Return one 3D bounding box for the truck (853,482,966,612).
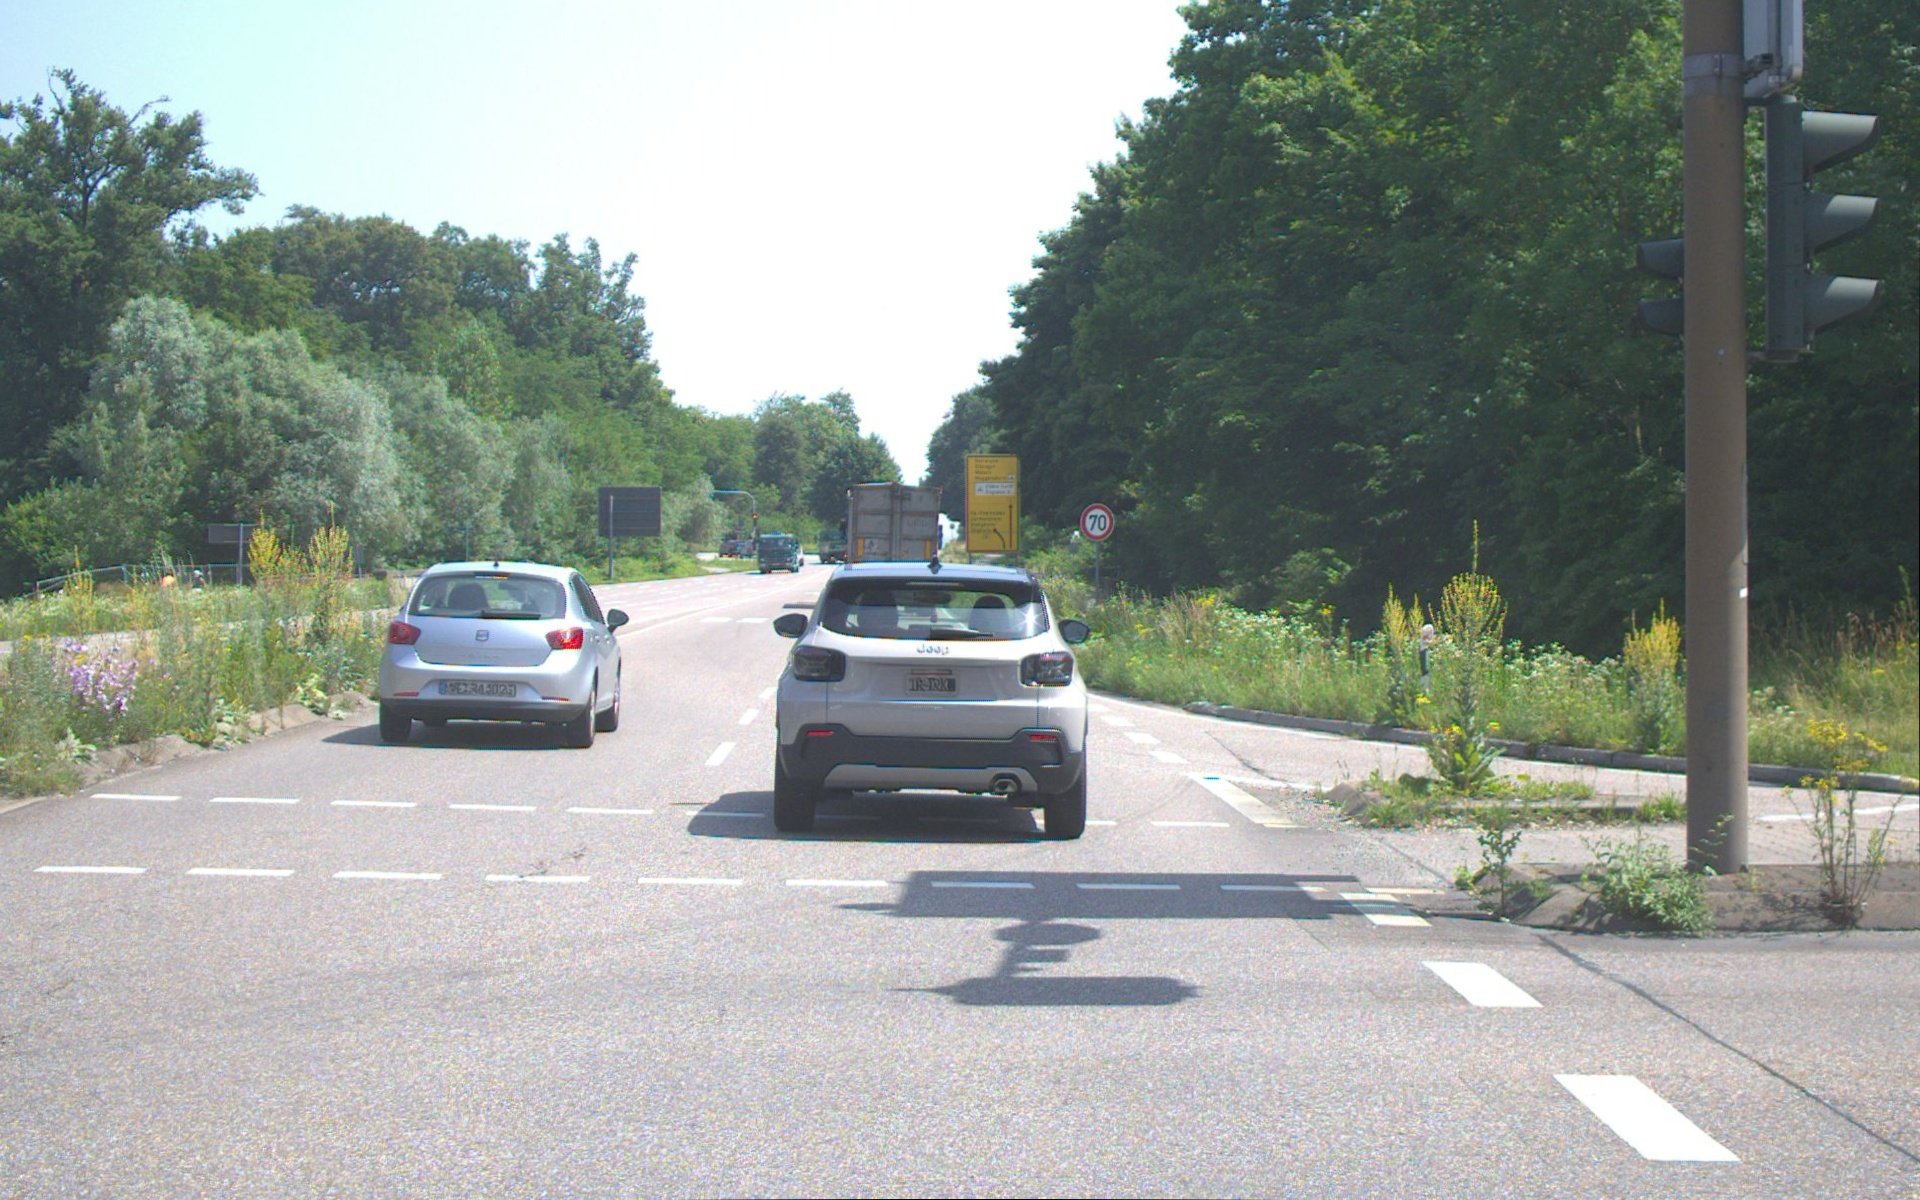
[{"bbox_3d":[-1.574,-1.666,110.725,3.333,3.975,6.533,2,0,1],"label":"truck"}]

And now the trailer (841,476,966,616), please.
[{"bbox_3d":[-1.628,-1.599,105.525,3.383,3.975,10.804,2,0,1],"label":"trailer"}]

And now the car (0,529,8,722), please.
[{"bbox_3d":[-9.361,0.271,27.421,1.993,1.672,5.365,-1,1,0],"label":"car"}]

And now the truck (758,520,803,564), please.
[{"bbox_3d":[-11.485,-3.710,220.531,2.454,2.647,6.491,-2,1,0],"label":"truck"}]

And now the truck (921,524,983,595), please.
[{"bbox_3d":[-0.522,-2.464,210.564,3.497,4.173,10.784,2,0,-1],"label":"truck"}]

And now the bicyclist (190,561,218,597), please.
[{"bbox_3d":[-25.489,-0.705,115.913,0.735,1.191,0.591,-1,0,11],"label":"bicyclist"}]

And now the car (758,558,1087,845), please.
[{"bbox_3d":[-0.194,0.527,20.726,1.767,1.529,4.000,1,1,0],"label":"car"}]

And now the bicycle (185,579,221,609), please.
[{"bbox_3d":[-25.518,-0.217,115.855,0.604,1.002,1.555,-1,0,11],"label":"bicycle"}]

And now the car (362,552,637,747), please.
[{"bbox_3d":[-3.665,0.350,27.912,1.666,1.425,3.828,2,1,0],"label":"car"}]
